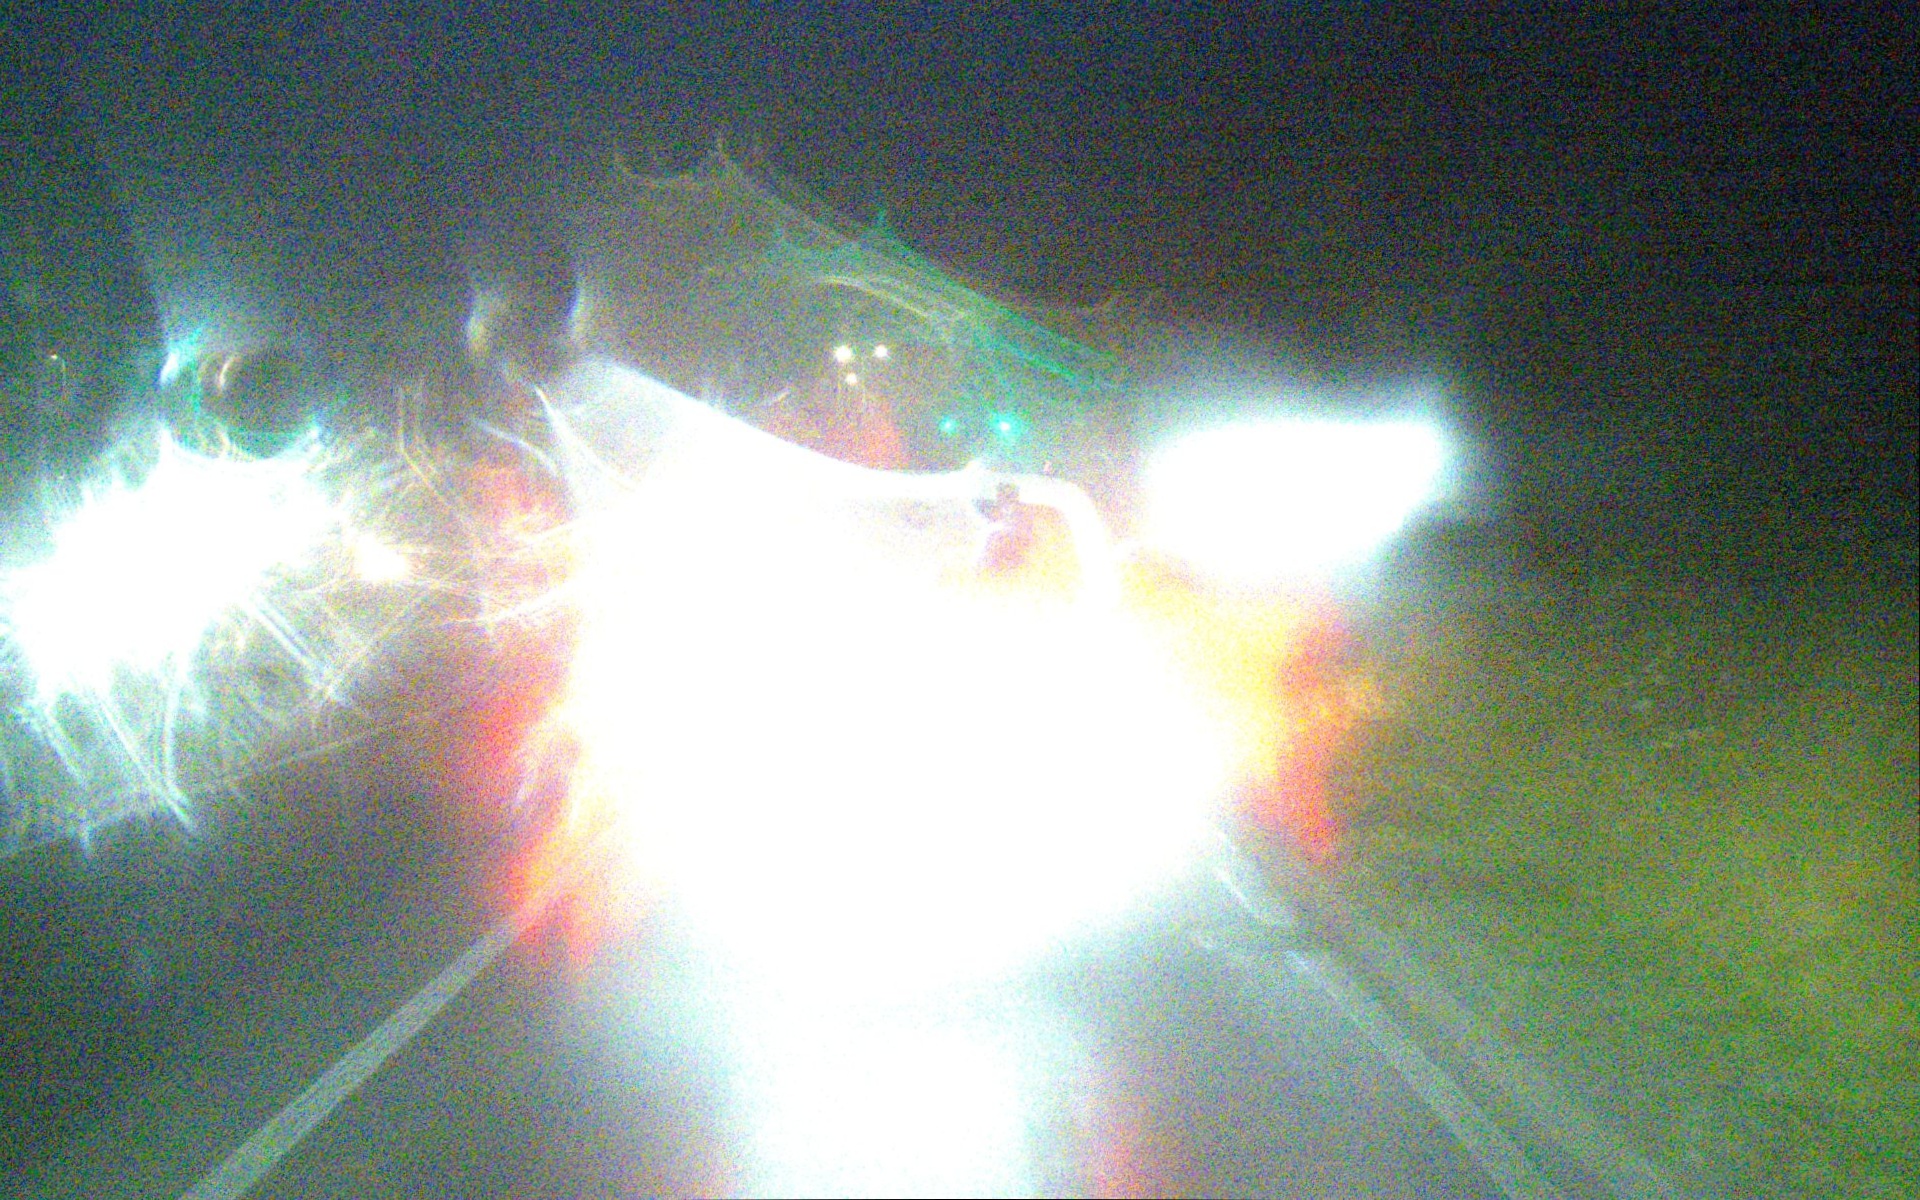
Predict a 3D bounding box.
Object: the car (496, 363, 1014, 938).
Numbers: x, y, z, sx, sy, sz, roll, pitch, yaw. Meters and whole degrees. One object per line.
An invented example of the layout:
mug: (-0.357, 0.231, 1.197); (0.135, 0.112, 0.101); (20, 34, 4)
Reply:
car: (-0.895, 0.120, 14.883); (1.791, 2.015, 4.580); (-3, 2, -4)
